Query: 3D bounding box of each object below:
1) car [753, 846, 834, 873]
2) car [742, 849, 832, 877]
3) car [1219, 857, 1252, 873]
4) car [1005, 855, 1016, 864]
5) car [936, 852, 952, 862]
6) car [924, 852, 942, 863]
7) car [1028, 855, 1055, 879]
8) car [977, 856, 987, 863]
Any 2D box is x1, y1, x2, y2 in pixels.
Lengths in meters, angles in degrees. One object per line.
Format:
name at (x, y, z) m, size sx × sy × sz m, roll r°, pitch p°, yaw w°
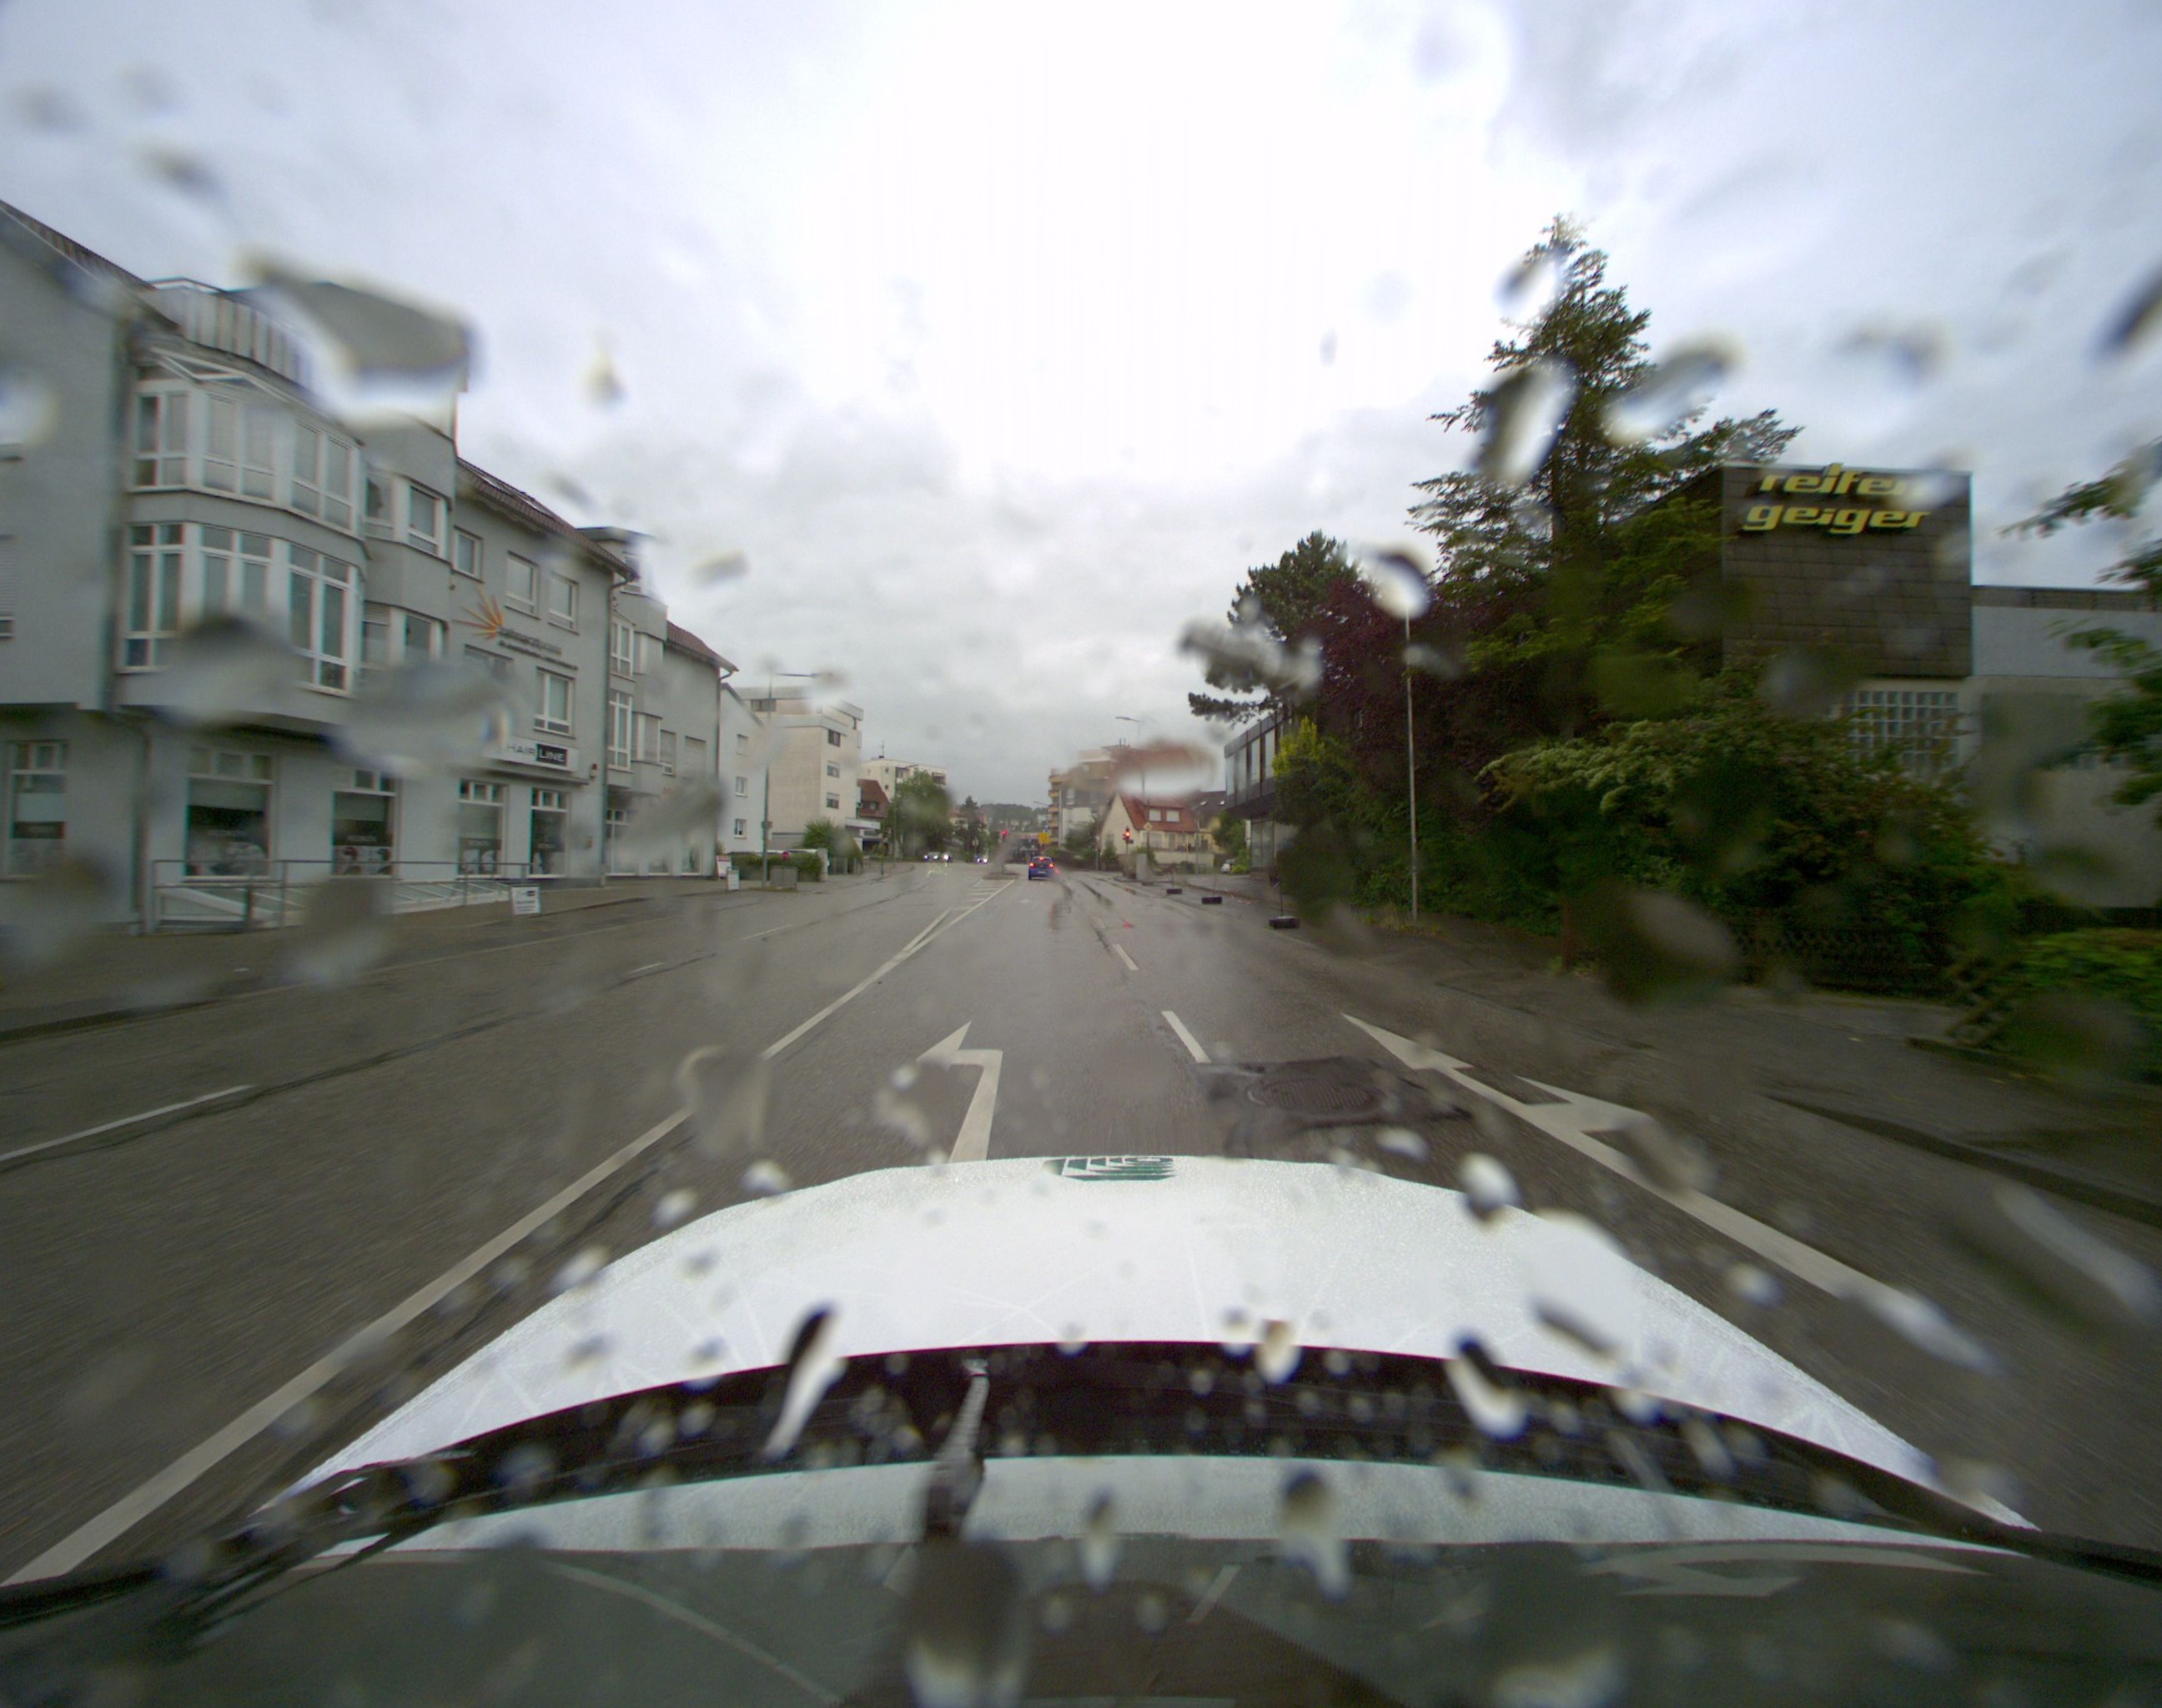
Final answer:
car at (-18.351, 0.363, 52.059) m, size 4.426 × 1.637 × 1.943 m, roll 1°, pitch 0°, yaw 7°
car at (-16.057, 0.479, 44.630) m, size 4.202 × 1.474 × 1.906 m, roll 1°, pitch 0°, yaw 3°
car at (15.437, 1.106, 81.305) m, size 1.723 × 1.514 × 4.025 m, roll 1°, pitch 0°, yaw 34°
car at (-12.915, 0.980, 148.897) m, size 1.808 × 1.486 × 4.186 m, roll 0°, pitch 0°, yaw -2°
car at (-19.389, 0.470, 115.287) m, size 1.711 × 1.387 × 4.016 m, roll 1°, pitch 0°, yaw -3°
car at (-19.628, 0.468, 108.154) m, size 1.774 × 1.420 × 3.827 m, roll 1°, pitch 0°, yaw -3°
car at (-2.429, 0.806, 50.992) m, size 1.575 × 1.411 × 3.267 m, roll 2°, pitch 0°, yaw -2°
car at (-20.741, 1.089, 170.915) m, size 1.774 × 1.420 × 3.827 m, roll 1°, pitch 0°, yaw -3°
